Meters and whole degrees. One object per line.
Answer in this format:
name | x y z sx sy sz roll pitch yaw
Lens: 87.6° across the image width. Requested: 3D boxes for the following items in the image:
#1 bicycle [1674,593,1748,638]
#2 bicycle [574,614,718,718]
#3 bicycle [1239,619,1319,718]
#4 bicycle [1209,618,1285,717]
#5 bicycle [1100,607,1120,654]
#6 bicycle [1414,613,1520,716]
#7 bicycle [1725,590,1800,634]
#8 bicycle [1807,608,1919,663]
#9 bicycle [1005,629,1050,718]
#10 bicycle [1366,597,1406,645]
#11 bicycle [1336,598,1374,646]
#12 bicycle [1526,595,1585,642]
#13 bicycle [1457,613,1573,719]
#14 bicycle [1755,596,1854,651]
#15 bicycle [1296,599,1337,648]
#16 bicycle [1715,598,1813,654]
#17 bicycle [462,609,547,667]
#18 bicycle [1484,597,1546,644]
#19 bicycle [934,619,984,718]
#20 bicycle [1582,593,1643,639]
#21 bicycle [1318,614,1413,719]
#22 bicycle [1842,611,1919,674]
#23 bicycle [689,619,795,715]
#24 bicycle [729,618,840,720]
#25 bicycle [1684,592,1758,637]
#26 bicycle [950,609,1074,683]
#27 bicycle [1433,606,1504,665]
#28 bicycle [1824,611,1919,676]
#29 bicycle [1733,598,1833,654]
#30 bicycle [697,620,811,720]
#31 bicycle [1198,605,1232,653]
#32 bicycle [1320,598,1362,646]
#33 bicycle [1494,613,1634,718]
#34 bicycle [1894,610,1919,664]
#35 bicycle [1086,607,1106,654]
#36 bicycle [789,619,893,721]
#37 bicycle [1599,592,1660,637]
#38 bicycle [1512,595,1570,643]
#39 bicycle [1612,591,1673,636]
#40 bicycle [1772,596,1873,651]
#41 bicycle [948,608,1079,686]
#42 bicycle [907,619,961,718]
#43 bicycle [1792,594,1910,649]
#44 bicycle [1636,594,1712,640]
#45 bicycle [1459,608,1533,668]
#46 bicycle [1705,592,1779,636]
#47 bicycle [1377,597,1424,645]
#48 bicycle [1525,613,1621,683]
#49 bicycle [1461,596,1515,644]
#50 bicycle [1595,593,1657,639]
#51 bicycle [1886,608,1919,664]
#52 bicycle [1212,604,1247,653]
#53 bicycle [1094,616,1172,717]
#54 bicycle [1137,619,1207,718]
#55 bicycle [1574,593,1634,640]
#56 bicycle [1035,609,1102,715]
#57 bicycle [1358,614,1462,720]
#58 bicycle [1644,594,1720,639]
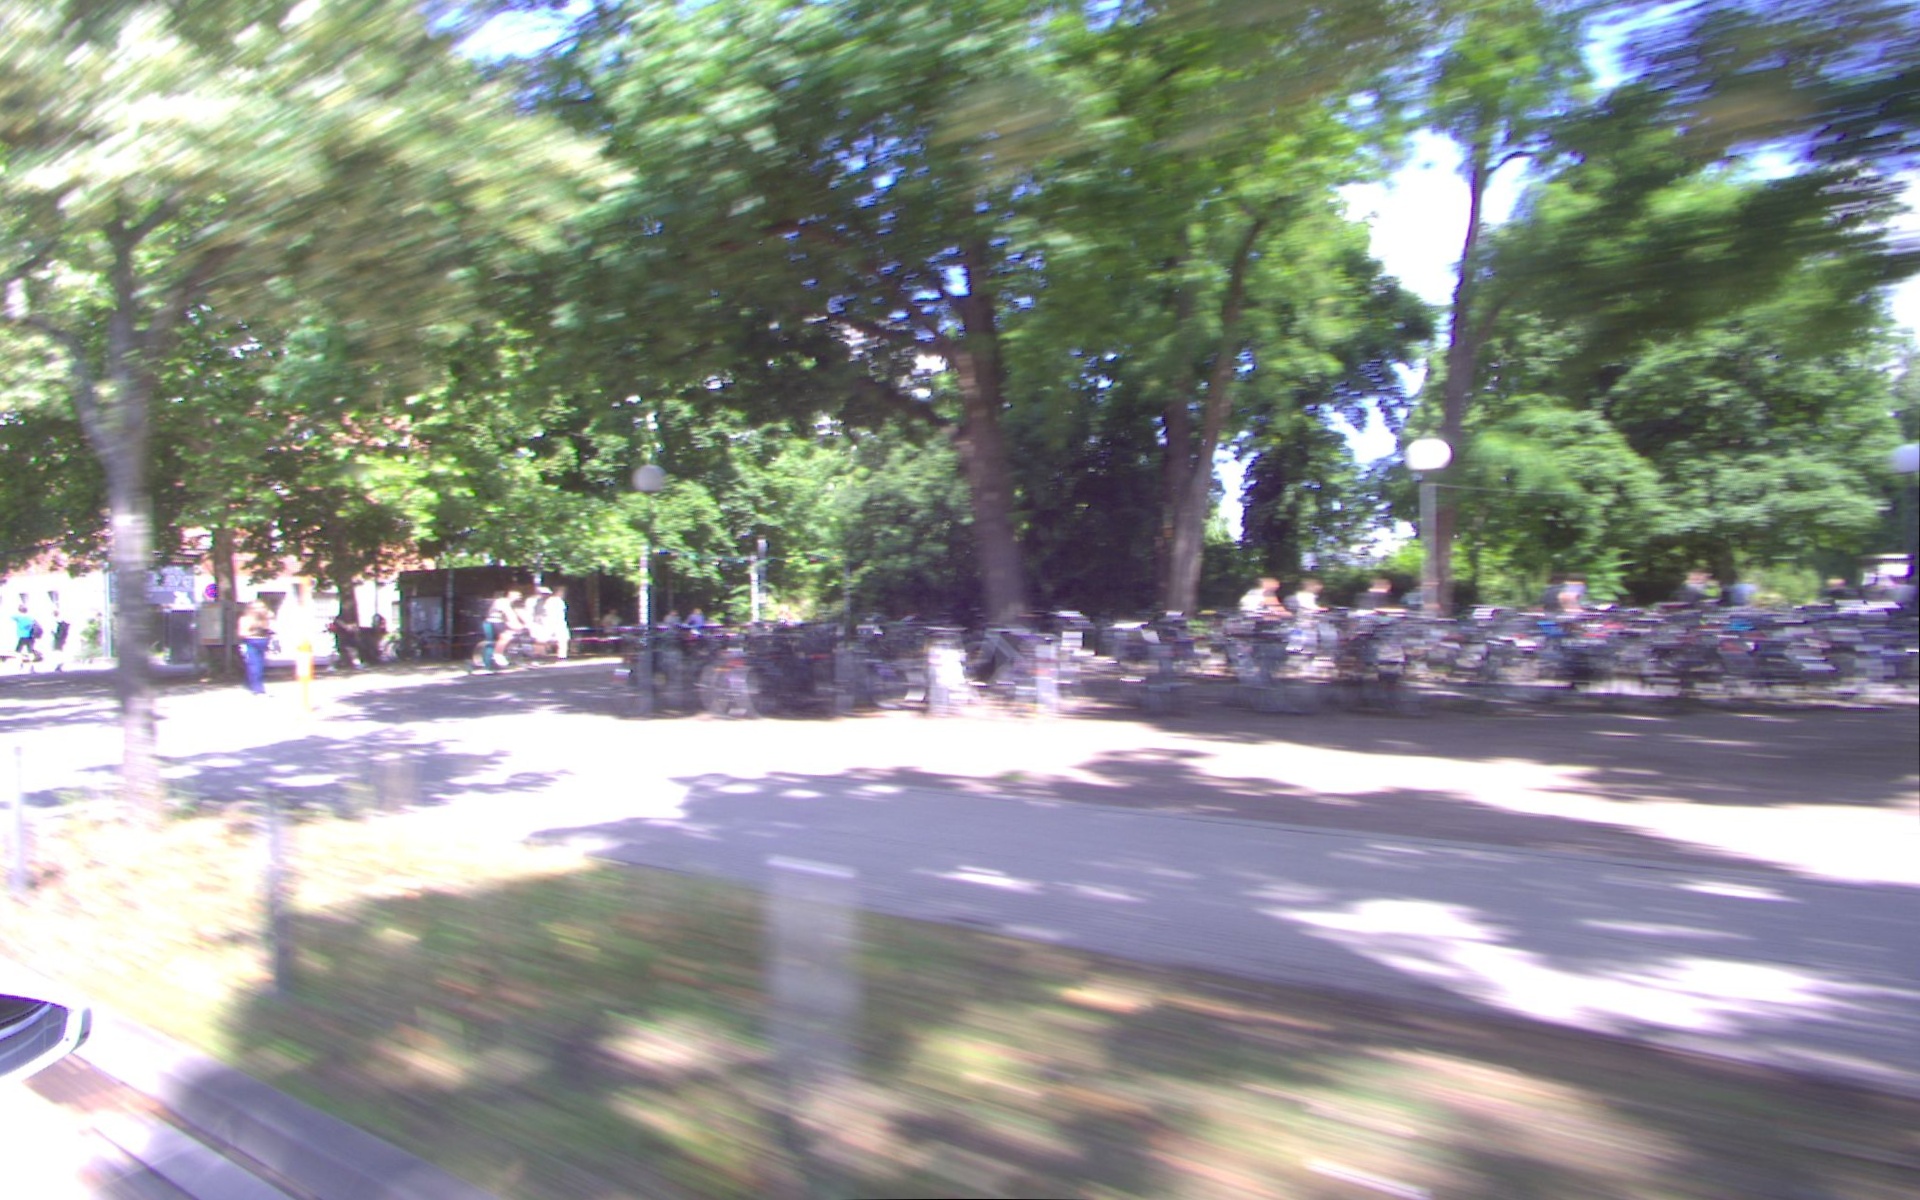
bicycle | 19.098 0.382 25.496 0.342 1.108 1.608 -2 1 -17
bicycle | -3.927 0.782 12.714 0.640 1.182 2.016 0 0 20
bicycle | 3.692 0.757 11.692 0.374 1.042 1.793 0 0 0
bicycle | 3.341 0.752 11.792 0.374 1.042 1.793 0 0 0
bicycle | 3.705 0.734 24.640 0.341 1.108 1.609 -1 1 13
bicycle | 5.846 0.704 11.638 0.418 1.084 1.793 0 0 4
bicycle | 20.980 0.305 26.212 0.342 1.108 1.608 -2 1 -17
bicycle | 17.453 0.654 19.345 0.372 0.992 1.799 -2 1 -14
bicycle | 0.781 0.833 11.824 0.485 0.921 1.738 0 0 3
bicycle | 10.312 0.490 24.299 0.341 1.108 1.611 -1 1 3
bicycle | 9.577 0.513 24.295 0.341 1.108 1.611 -1 1 3
bicycle | 14.550 0.440 24.492 0.341 1.108 1.610 -1 1 -5
bicycle | 6.234 0.706 11.345 0.418 1.084 1.793 0 0 4
bicycle | 16.006 0.429 19.028 0.396 0.992 1.596 -1 1 -7
bicycle | 8.556 0.548 24.069 0.469 1.108 1.611 -1 1 3
bicycle | 14.961 0.469 18.688 0.396 0.992 1.596 -1 1 -7
bicycle | -10.229 0.851 22.486 1.705 1.269 0.531 -1 2 12
bicycle | 13.419 0.477 24.261 0.469 1.108 1.610 -1 1 -6
bicycle | 0.011 0.782 12.096 0.319 1.073 1.913 0 0 9
bicycle | 16.205 0.391 24.910 0.341 1.108 1.610 -1 1 -5
bicycle | 4.625 0.720 11.525 0.418 1.084 1.793 0 0 2
bicycle | 15.663 0.690 16.421 0.469 0.992 1.902 -1 1 -11
bicycle | -2.718 0.801 12.664 0.431 1.096 1.769 0 0 20
bicycle | -2.077 0.783 12.103 0.397 1.096 1.945 0 0 20
bicycle | 19.423 0.369 25.600 0.342 1.108 1.608 -2 1 -17
bicycle | 0.815 0.716 15.609 1.868 1.097 0.478 -1 1 11
bicycle | 9.306 0.625 18.385 0.371 0.992 1.903 -1 0 2
bicycle | 15.292 0.700 16.356 0.469 0.992 1.902 -1 1 -11
bicycle | 15.360 0.457 18.733 0.396 0.992 1.596 -1 1 -7
bicycle | -2.475 0.805 12.245 0.397 1.096 1.945 0 0 20
bicycle | 6.154 0.686 24.256 0.469 1.108 1.611 -1 1 3
bicycle | 9.231 0.521 24.308 0.469 1.108 1.611 -1 1 3
bicycle | 6.844 0.704 11.448 0.418 1.084 1.793 0 0 -4
bicycle | 19.520 0.739 19.832 0.347 1.097 1.467 2 -2 -24
bicycle | 3.362 0.739 24.731 0.341 1.108 1.609 -1 1 13
bicycle | -1.381 0.788 11.987 0.397 1.096 1.945 0 0 20
bicycle | 17.002 0.349 25.455 0.341 1.108 1.610 -1 1 -5
bicycle | 14.172 0.449 24.476 0.341 1.108 1.610 -1 1 -5
bicycle | 17.348 0.338 25.491 0.341 1.108 1.610 -1 1 -5
bicycle | 16.392 0.421 19.073 0.396 0.992 1.596 -1 1 -7
bicycle | 0.791 0.696 14.796 1.868 1.097 0.478 -1 1 11
bicycle | -0.287 0.787 12.155 0.319 1.073 1.913 0 0 9
bicycle | 17.085 0.400 19.254 0.372 0.992 1.799 -2 1 -14
bicycle | 17.999 0.419 25.277 0.342 1.108 1.605 -2 1 -24
bicycle | 9.730 0.665 18.238 0.371 0.992 1.903 -1 0 2
bicycle | 20.032 0.350 25.686 0.342 1.108 1.608 -2 1 -17
bicycle | 10.662 0.483 24.283 0.469 1.108 1.611 -1 1 3
bicycle | 9.553 0.714 15.676 0.371 0.992 1.903 -1 0 2
bicycle | 12.542 0.453 23.836 0.341 1.108 1.611 -1 1 -4
bicycle | 16.549 0.382 24.914 0.341 1.108 1.610 -1 1 -5
bicycle | 18.944 0.705 19.391 0.347 1.097 1.467 2 -2 -24
bicycle | 6.527 0.675 24.293 0.469 1.108 1.611 -1 1 3
bicycle | 1.987 0.735 11.694 0.485 1.066 1.738 0 0 -4
bicycle | 2.451 0.764 11.744 0.432 1.042 1.796 0 0 0
bicycle | 15.969 0.397 24.872 0.330 1.108 1.610 -1 1 -5
bicycle | 1.278 0.699 12.039 0.485 1.170 1.738 0 0 -4
bicycle | 5.052 0.709 11.343 0.418 1.084 1.793 0 0 2
bicycle | 18.308 0.405 25.434 0.342 1.108 1.605 -2 1 -24
